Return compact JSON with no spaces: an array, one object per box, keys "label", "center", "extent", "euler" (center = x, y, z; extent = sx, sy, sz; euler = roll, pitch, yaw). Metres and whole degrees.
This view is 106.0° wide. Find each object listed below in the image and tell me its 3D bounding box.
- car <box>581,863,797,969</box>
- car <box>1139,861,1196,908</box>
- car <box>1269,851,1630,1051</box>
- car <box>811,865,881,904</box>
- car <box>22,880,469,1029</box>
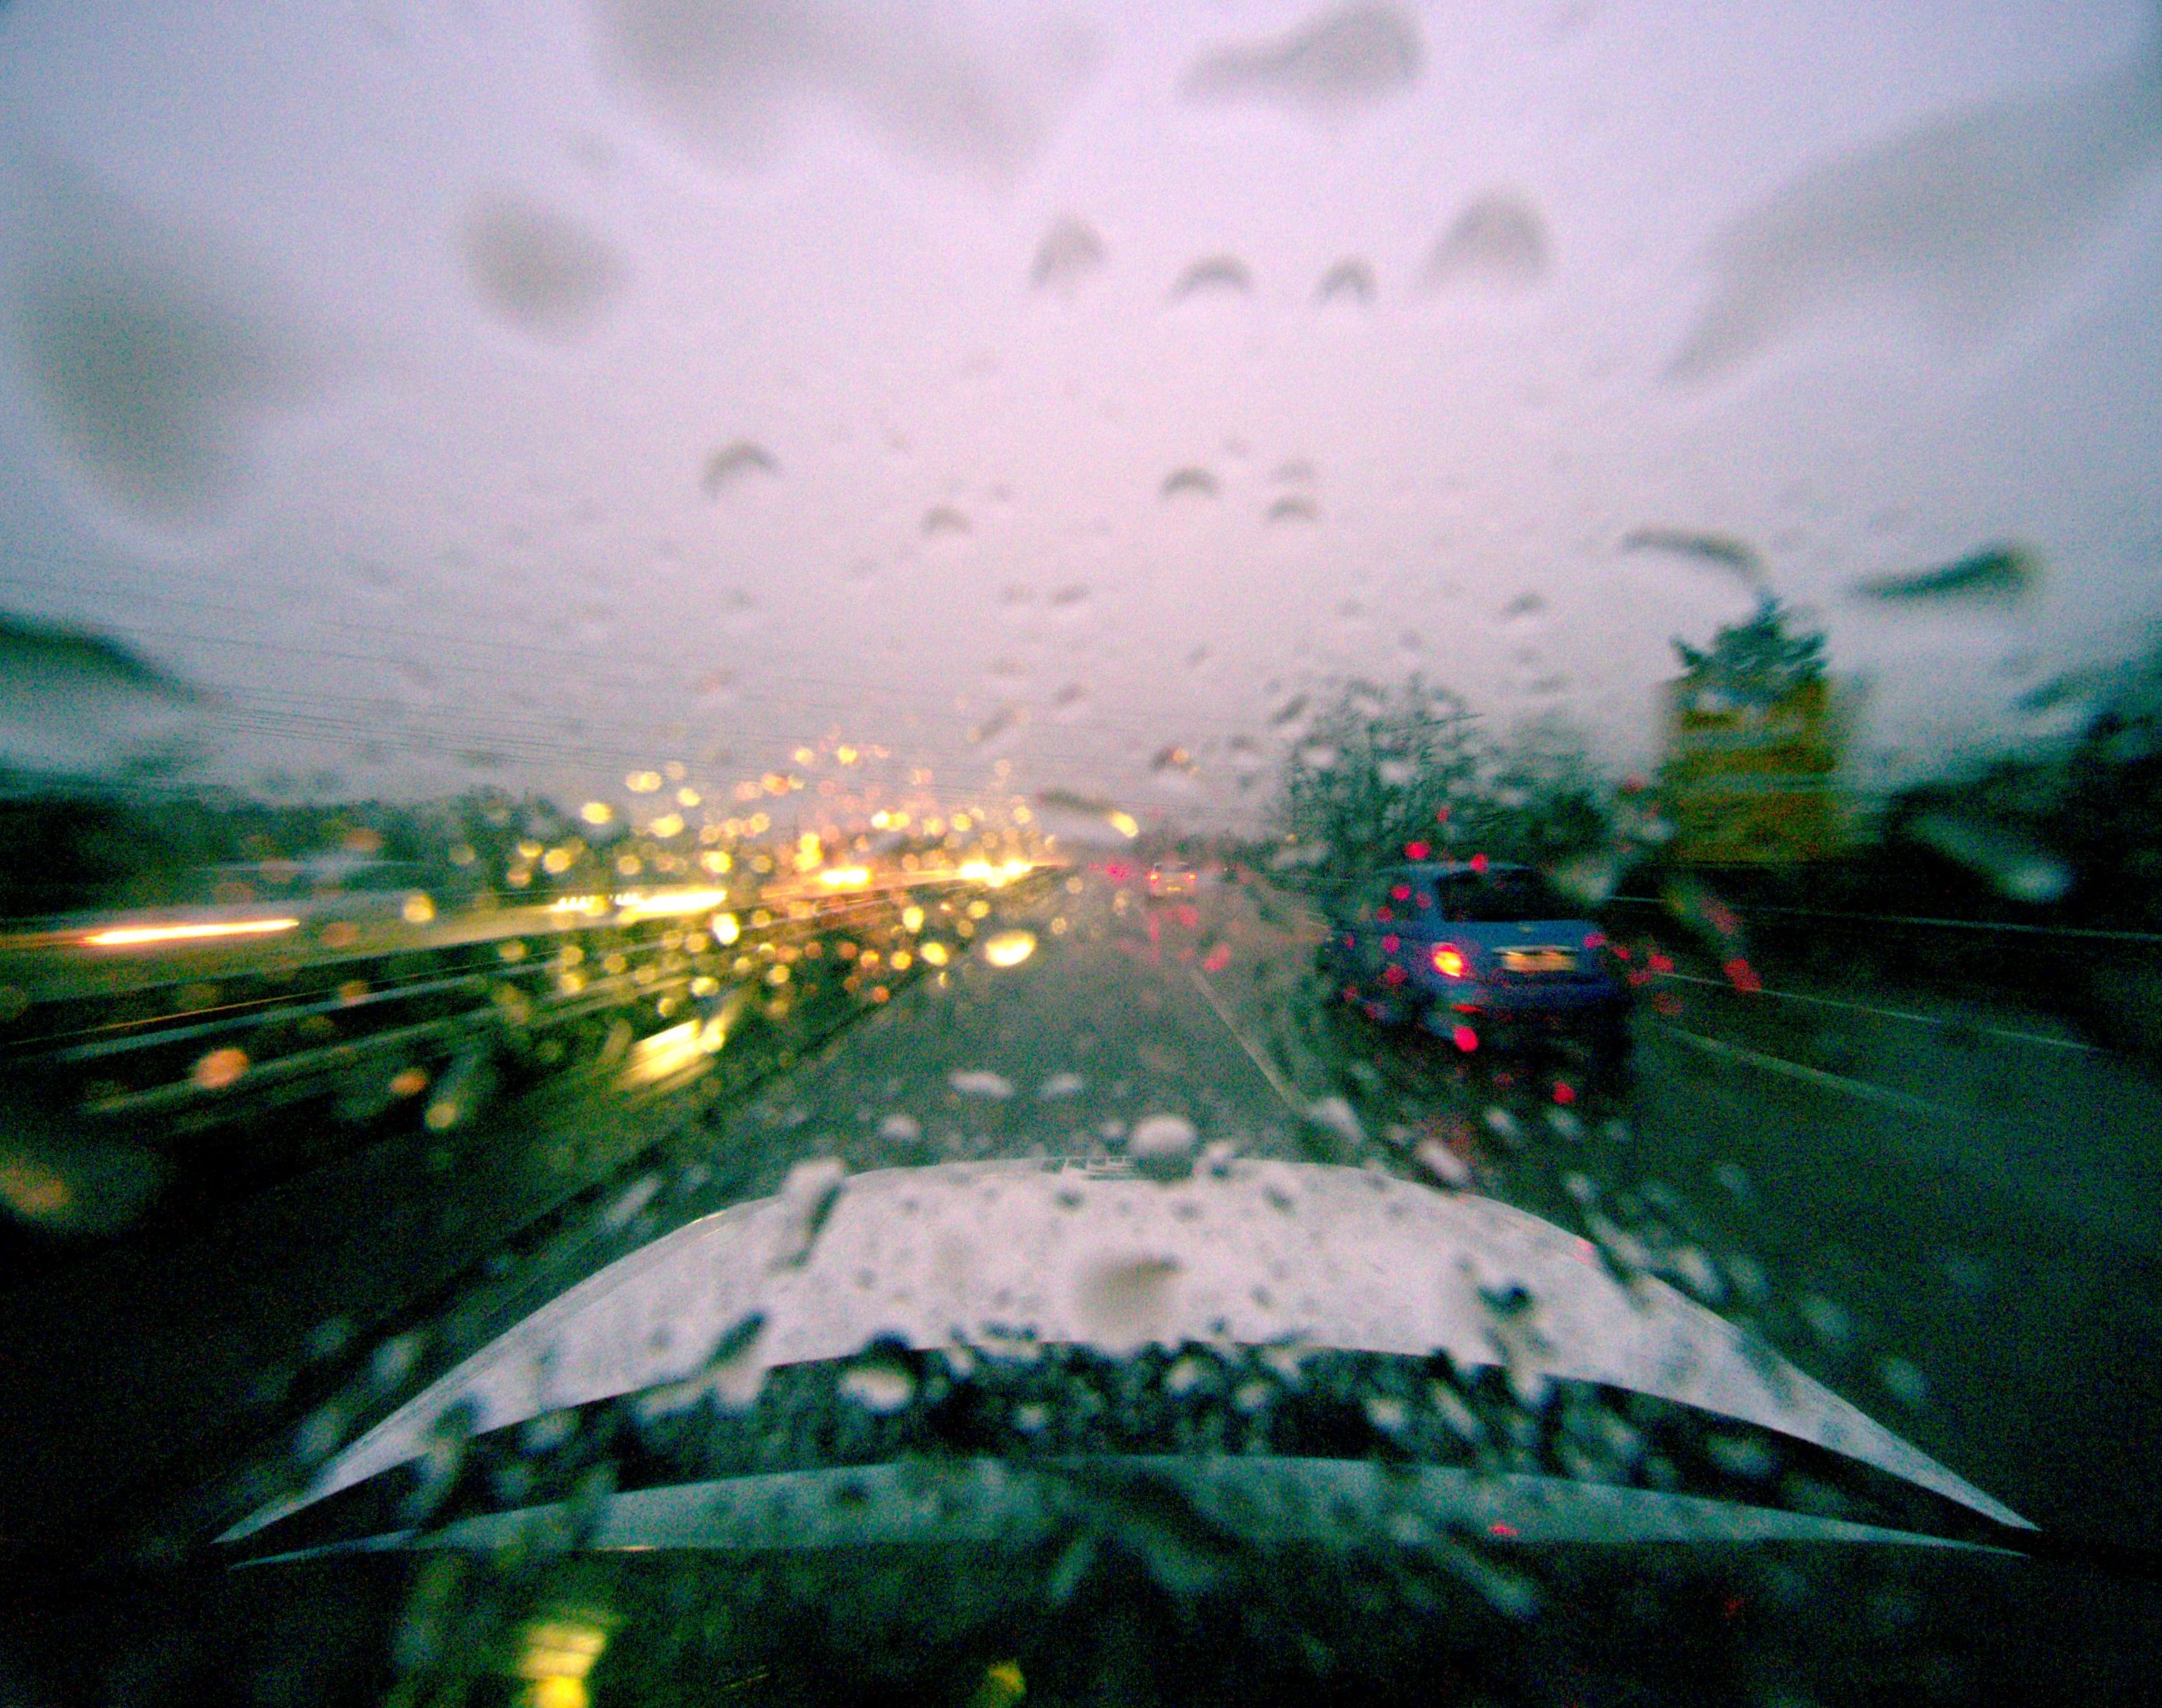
[{"label":"car","center":[-7.075,1.021,15.317],"extent":[1.811,1.551,4.469],"euler":[-1,1,1]},{"label":"car","center":[3.173,1.083,30.485],"extent":[1.839,1.636,3.769],"euler":[0,0,1]},{"label":"car","center":[3.283,0.733,8.265],"extent":[1.839,1.453,4.149],"euler":[-1,1,1]},{"label":"car","center":[-11.821,1.488,41.344],"extent":[2.063,1.791,4.847],"euler":[-1,-1,1]},{"label":"car","center":[-11.643,1.269,11.946],"extent":[1.978,1.551,4.391],"euler":[-1,1,0]}]
